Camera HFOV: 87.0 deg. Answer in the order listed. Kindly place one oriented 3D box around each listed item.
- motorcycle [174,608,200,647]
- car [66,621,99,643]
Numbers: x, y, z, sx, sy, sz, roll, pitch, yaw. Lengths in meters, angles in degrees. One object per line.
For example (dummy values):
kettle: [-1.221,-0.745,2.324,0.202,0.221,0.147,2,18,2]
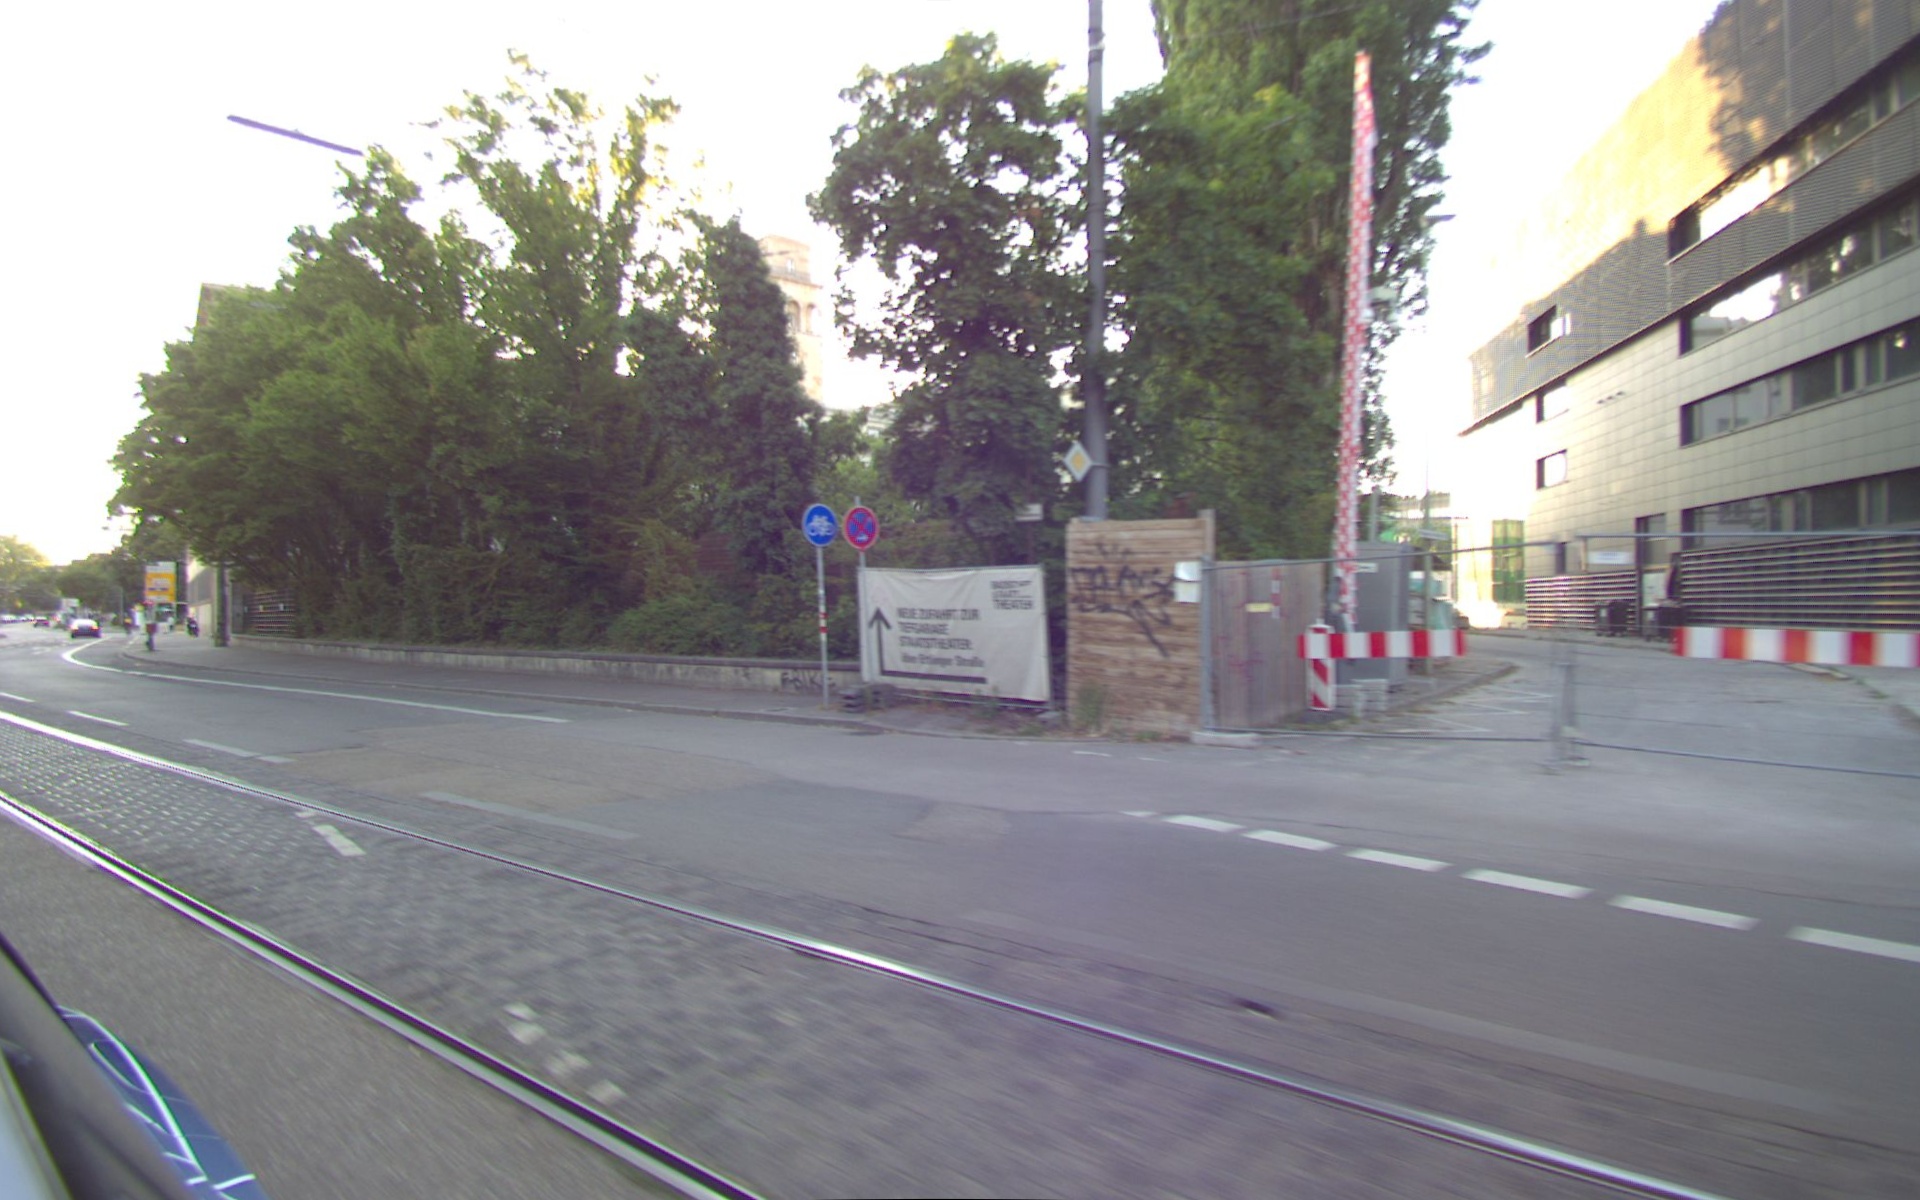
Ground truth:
motorcycle: [-49.674,1.766,65.034,1.008,2.461,2.670,0,-1,-44]
car: [-72.494,2.614,83.603,1.969,1.697,4.004,0,-1,-42]
